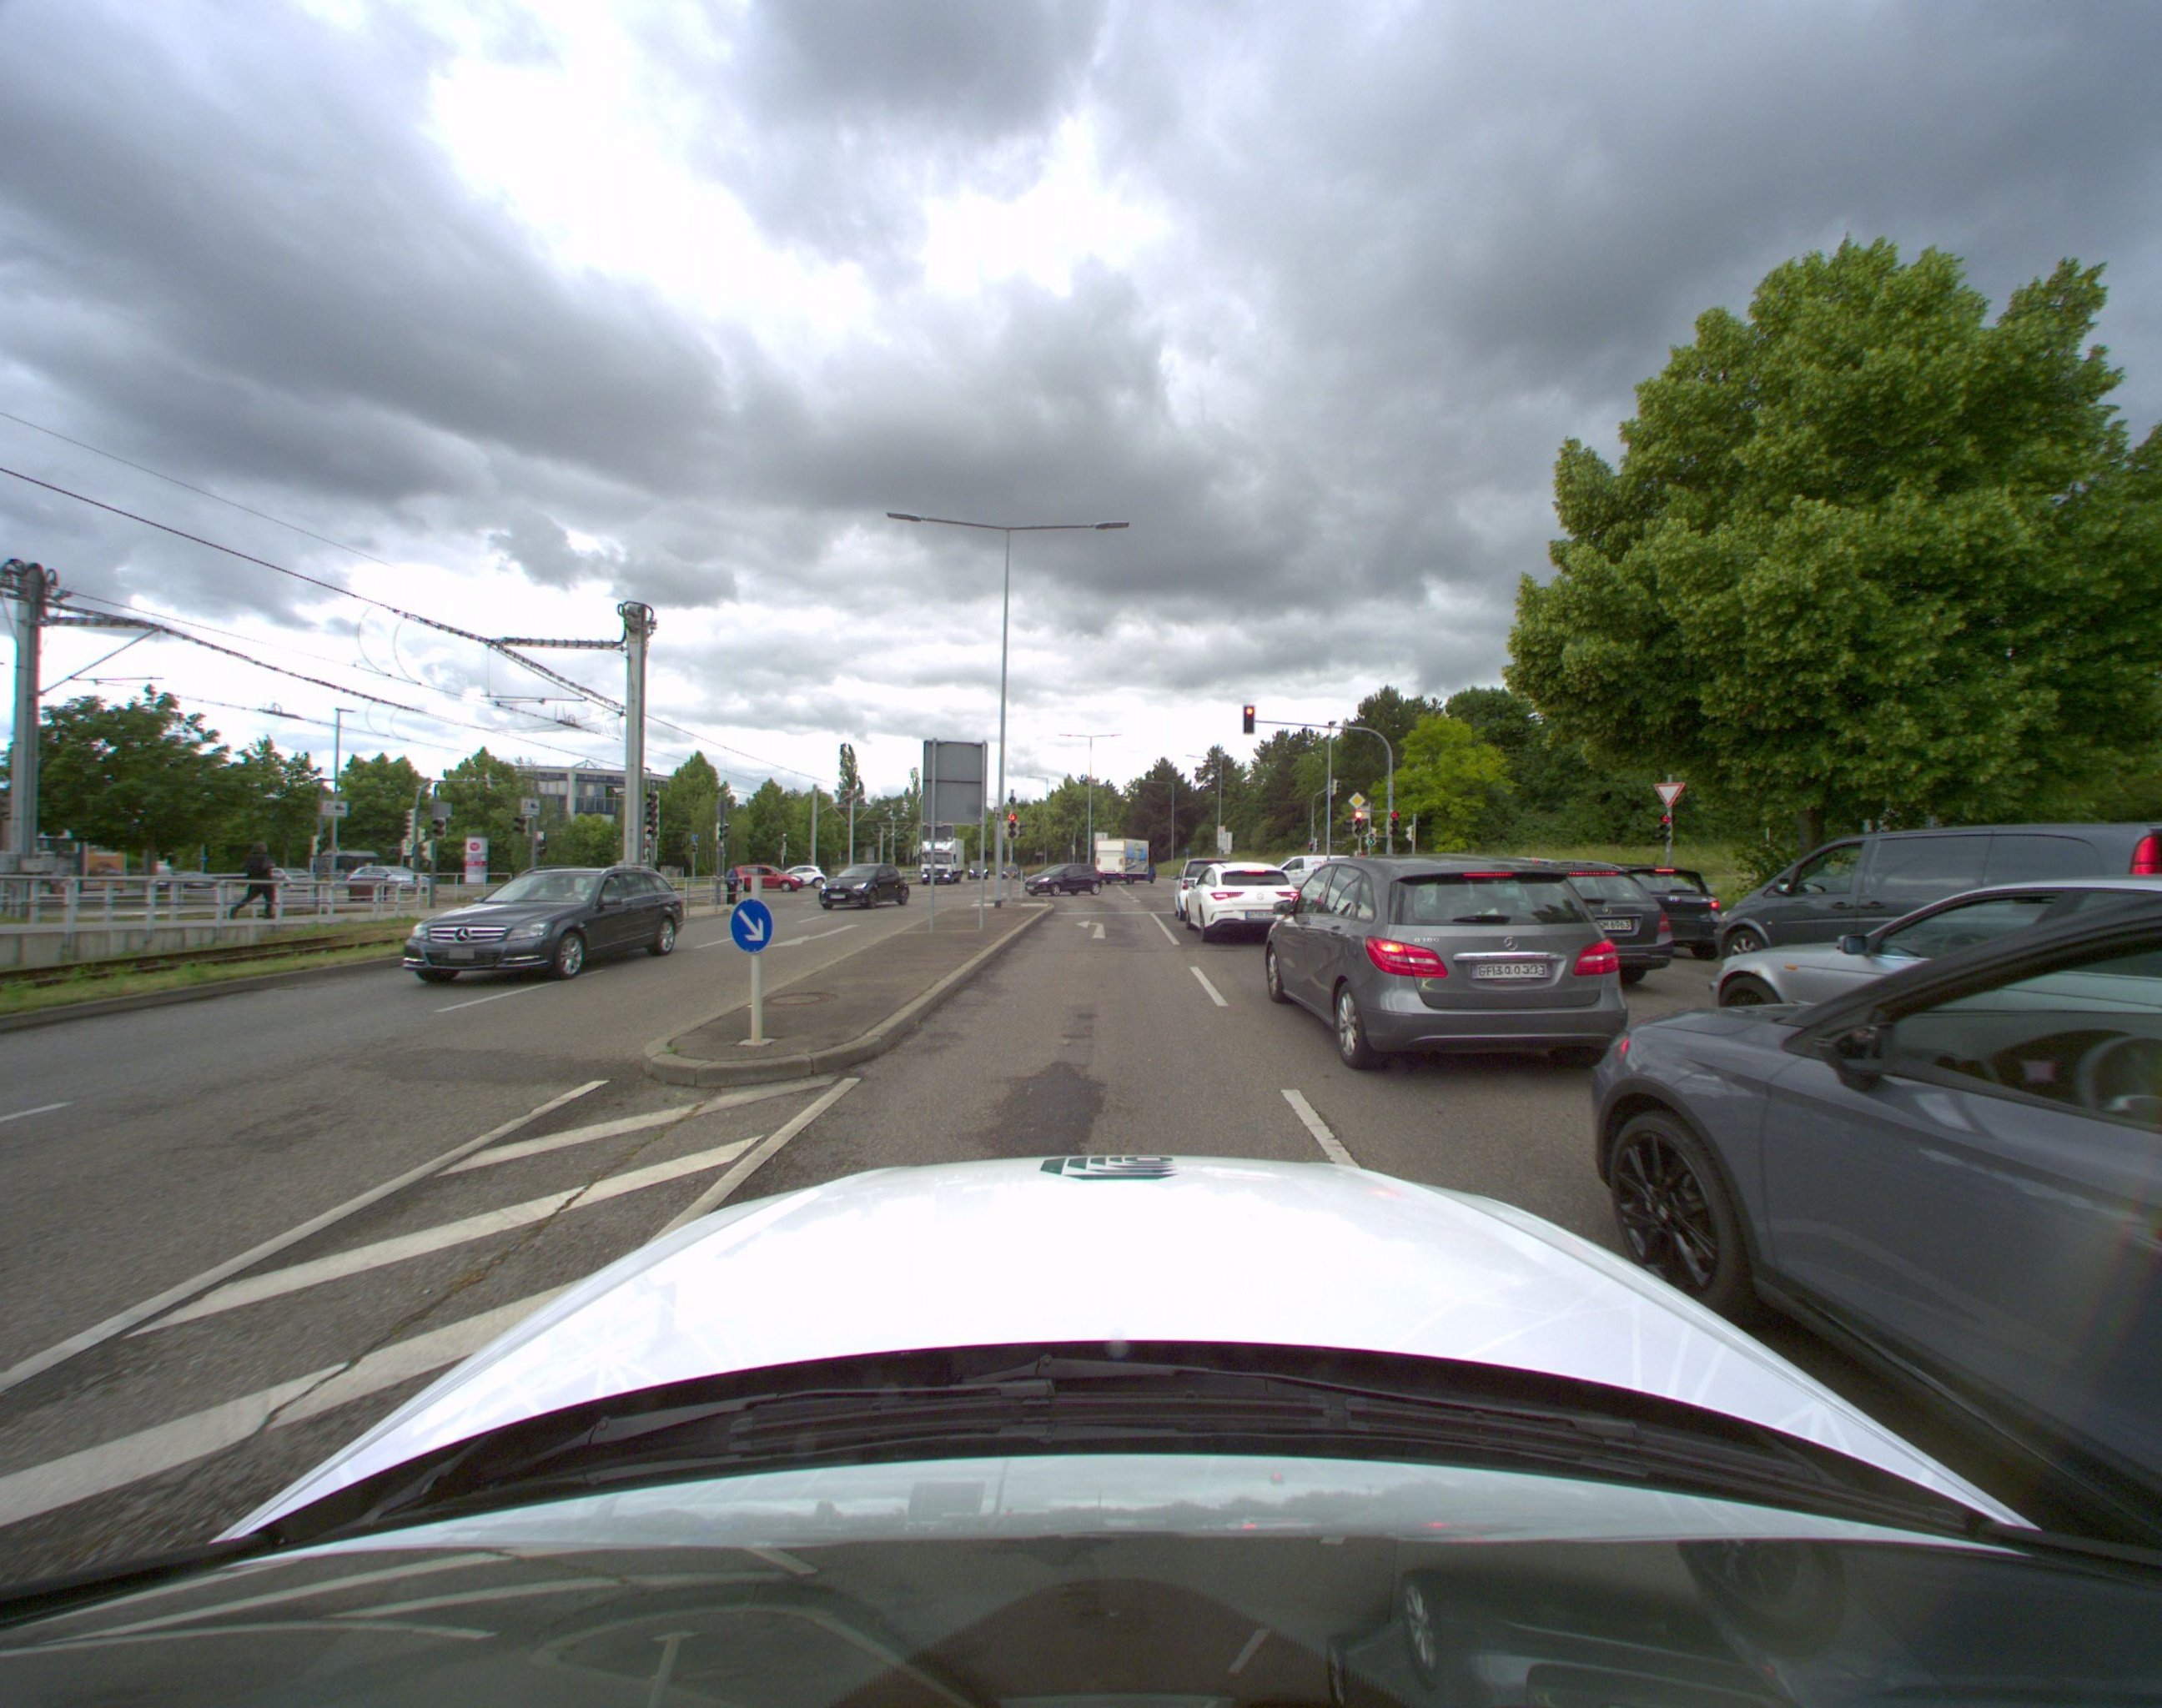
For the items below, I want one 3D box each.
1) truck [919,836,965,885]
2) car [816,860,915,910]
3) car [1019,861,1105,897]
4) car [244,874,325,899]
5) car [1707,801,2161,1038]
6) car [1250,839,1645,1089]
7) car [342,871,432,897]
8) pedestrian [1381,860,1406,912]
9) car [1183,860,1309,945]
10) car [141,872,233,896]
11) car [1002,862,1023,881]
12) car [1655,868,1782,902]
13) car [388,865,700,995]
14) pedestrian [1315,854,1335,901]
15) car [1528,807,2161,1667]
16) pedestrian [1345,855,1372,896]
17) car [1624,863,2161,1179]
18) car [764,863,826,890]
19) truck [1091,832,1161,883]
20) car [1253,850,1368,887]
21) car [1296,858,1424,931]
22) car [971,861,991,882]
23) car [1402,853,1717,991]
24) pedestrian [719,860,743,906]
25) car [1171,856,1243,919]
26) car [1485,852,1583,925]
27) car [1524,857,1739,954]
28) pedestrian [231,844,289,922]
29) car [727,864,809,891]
[{"bbox_3d":[-11.032,0.510,65.567,2.655,3.649,9.488,0,-1,-4],"label":"truck"},{"bbox_3d":[-7.150,0.985,27.406,1.583,1.496,3.952,-1,0,12],"label":"car"},{"bbox_3d":[-0.860,1.126,37.625,3.798,1.480,1.620,-1,0,-41],"label":"car"},{"bbox_3d":[-44.369,1.826,45.411,3.264,1.310,1.556,-1,0,8],"label":"car"},{"bbox_3d":[9.049,0.478,8.430,1.817,1.803,4.509,-1,0,3],"label":"car"},{"bbox_3d":[2.686,0.677,7.117,1.791,1.523,4.192,-1,0,4],"label":"car"},{"bbox_3d":[-38.080,1.636,44.715,3.963,1.377,1.522,0,-1,9],"label":"car"},{"bbox_3d":[8.814,0.907,22.967,0.607,1.453,0.355,0,-1,10],"label":"pedestrian"},{"bbox_3d":[3.054,0.832,15.930,1.715,1.422,4.358,-1,0,2],"label":"car"},{"bbox_3d":[-51.106,1.699,46.600,3.715,1.310,1.727,0,-1,8],"label":"car"},{"bbox_3d":[-6.809,1.684,80.620,1.914,1.576,3.990,-1,2,-8],"label":"car"},{"bbox_3d":[30.987,1.472,39.752,4.460,1.462,2.007,1,0,13],"label":"car"},{"bbox_3d":[-7.428,0.926,11.940,1.687,1.439,4.541,-1,0,-2],"label":"car"},{"bbox_3d":[8.754,0.837,29.188,0.607,1.634,0.616,0,-1,11],"label":"pedestrian"},{"bbox_3d":[2.713,0.653,1.546,1.691,1.486,4.003,-1,0,3],"label":"car"},{"bbox_3d":[10.740,0.812,31.537,0.861,1.560,0.518,-1,0,0],"label":"pedestrian"},{"bbox_3d":[5.699,0.752,5.200,1.805,1.354,4.119,0,0,2],"label":"car"},{"bbox_3d":[-18.961,1.483,53.952,3.750,1.507,1.768,-2,3,-23],"label":"car"},{"bbox_3d":[3.550,0.296,62.296,2.658,3.599,7.305,0,-1,26],"label":"truck"},{"bbox_3d":[11.891,0.793,42.482,5.399,1.816,2.000,-1,-2,1],"label":"car"},{"bbox_3d":[6.029,0.819,18.055,1.540,1.404,4.001,-1,-1,1],"label":"car"},{"bbox_3d":[-10.001,1.692,81.486,1.914,1.727,3.992,-1,3,-6],"label":"car"},{"bbox_3d":[5.873,0.712,10.696,1.817,1.435,4.216,-1,0,3],"label":"car"},{"bbox_3d":[-12.350,1.016,28.734,0.349,1.556,0.657,1,3,36],"label":"pedestrian"},{"bbox_3d":[3.224,0.836,21.169,1.529,1.504,2.671,-1,-1,2],"label":"car"},{"bbox_3d":[11.617,0.805,21.129,1.687,1.638,4.266,1,0,22],"label":"car"},{"bbox_3d":[9.347,0.792,14.188,1.507,1.437,3.646,-1,0,5],"label":"car"},{"bbox_3d":[-19.551,0.675,19.415,0.570,1.827,0.793,0,0,-2],"label":"pedestrian"},{"bbox_3d":[-17.711,1.334,46.239,3.982,1.517,1.728,0,-2,-6],"label":"car"}]
